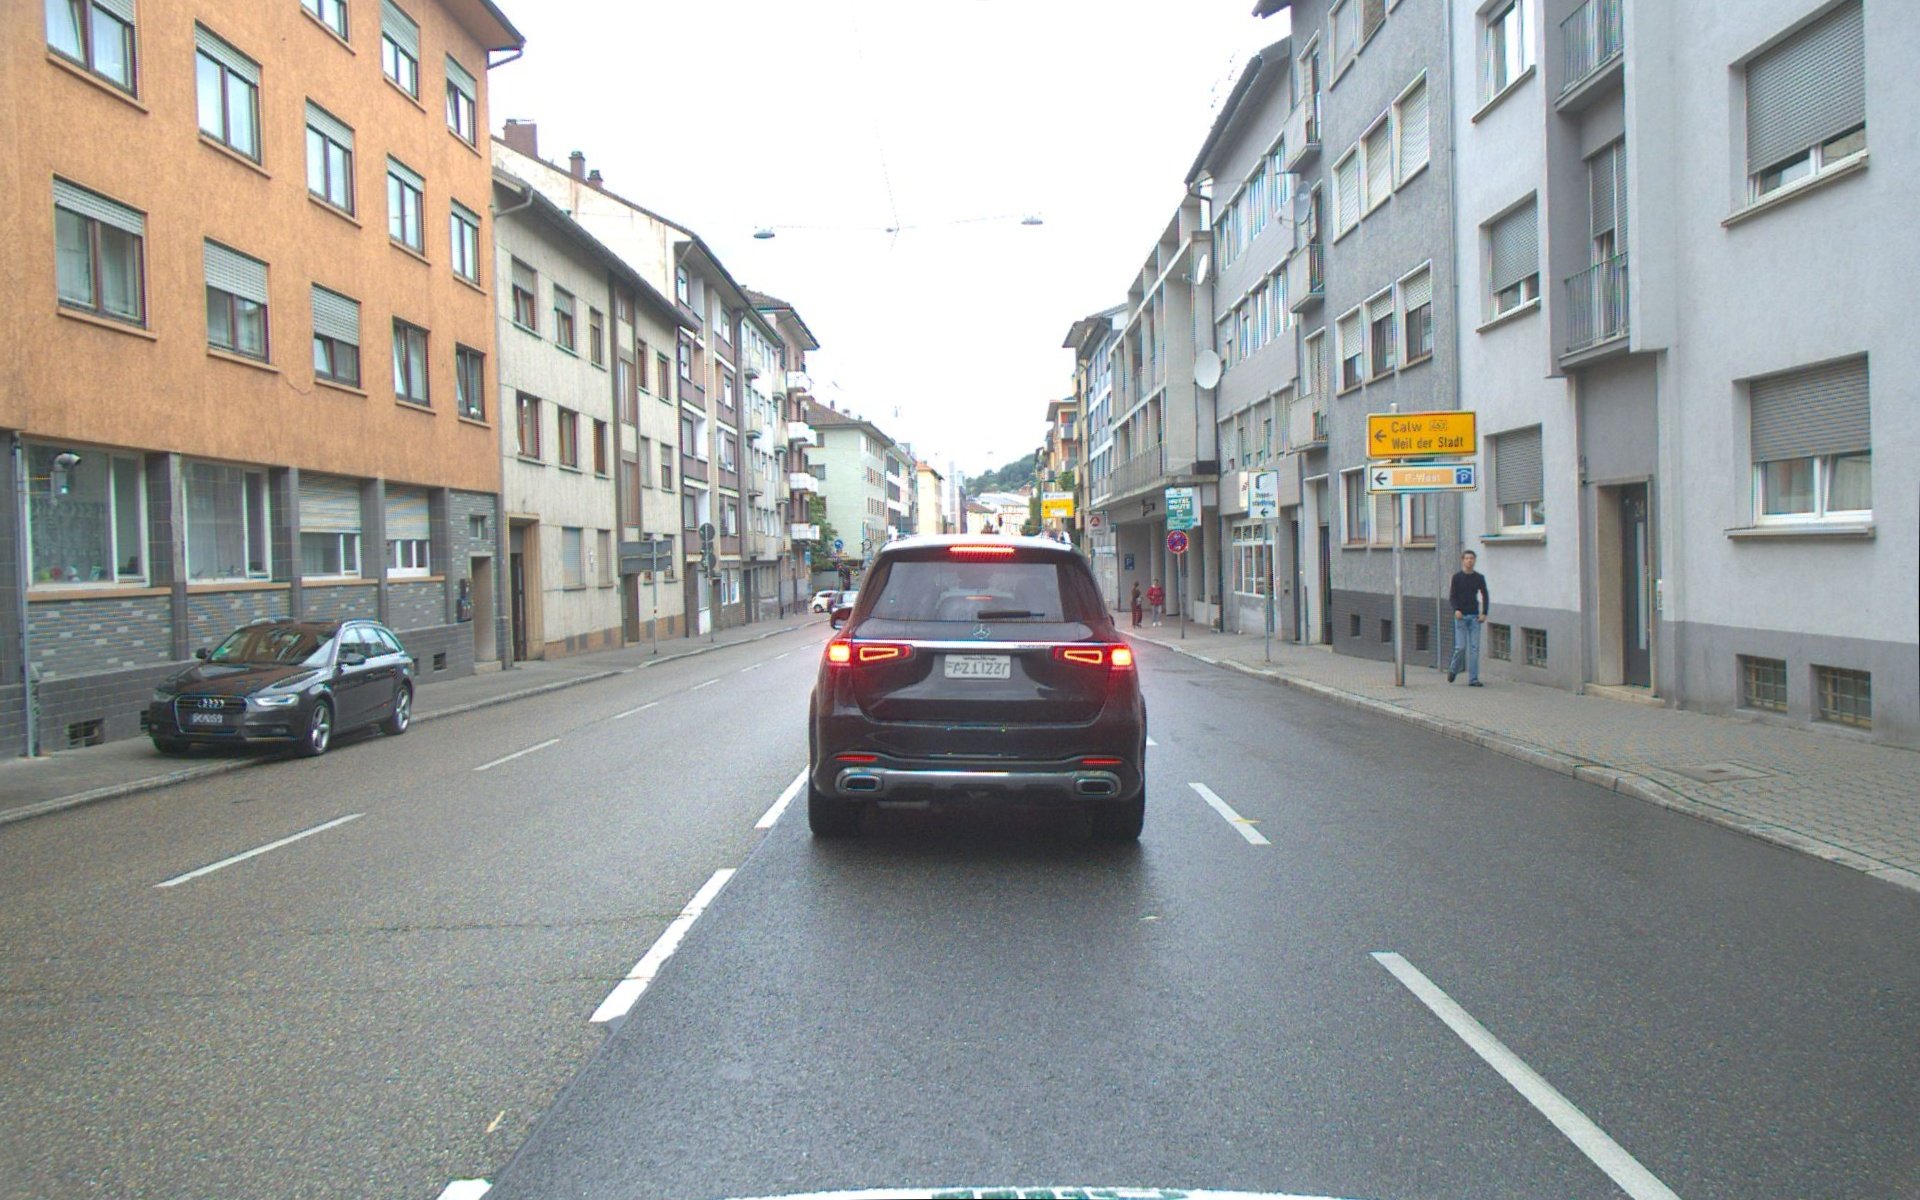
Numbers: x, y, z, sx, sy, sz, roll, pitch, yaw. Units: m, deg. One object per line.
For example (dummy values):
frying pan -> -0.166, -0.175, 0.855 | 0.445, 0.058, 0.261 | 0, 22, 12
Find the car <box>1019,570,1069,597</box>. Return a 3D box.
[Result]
car -> 6.625, -1.308, 130.721 | 3.903, 2.049, 2.001 | 0, 1, 3

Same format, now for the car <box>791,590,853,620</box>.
car -> -9.632, 0.308, 115.549 | 3.902, 2.049, 2.002 | 0, 1, 12

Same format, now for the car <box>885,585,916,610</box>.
car -> -3.669, -0.154, 102.376 | 1.853, 1.484, 4.549 | 0, 1, -1

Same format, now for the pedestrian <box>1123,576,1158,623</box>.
pedestrian -> 6.230, -0.015, 57.101 | 0.812, 1.592, 0.890 | -1, 1, -31

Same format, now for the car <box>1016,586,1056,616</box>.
car -> 3.833, 0.025, 83.988 | 1.699, 1.412, 4.582 | 0, 1, -1

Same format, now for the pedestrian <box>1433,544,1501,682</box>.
pedestrian -> 6.798, 0.168, 22.200 | 0.642, 1.782, 0.742 | -4, 0, 5

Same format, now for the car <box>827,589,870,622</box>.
car -> -5.314, 0.223, 79.470 | 1.853, 1.484, 4.548 | 0, 1, -2

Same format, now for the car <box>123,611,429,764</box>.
car -> -7.926, 0.935, 19.684 | 1.853, 1.484, 4.548 | 0, 1, -2

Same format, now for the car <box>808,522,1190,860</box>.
car -> 0.175, 0.435, 11.136 | 2.034, 1.796, 4.610 | 0, 1, -1

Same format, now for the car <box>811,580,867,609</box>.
car -> -8.904, -0.423, 122.155 | 3.903, 2.049, 2.001 | 0, 1, 3

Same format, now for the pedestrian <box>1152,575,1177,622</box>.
pedestrian -> 7.038, -0.055, 56.957 | 0.803, 1.592, 0.900 | 0, 1, 3
